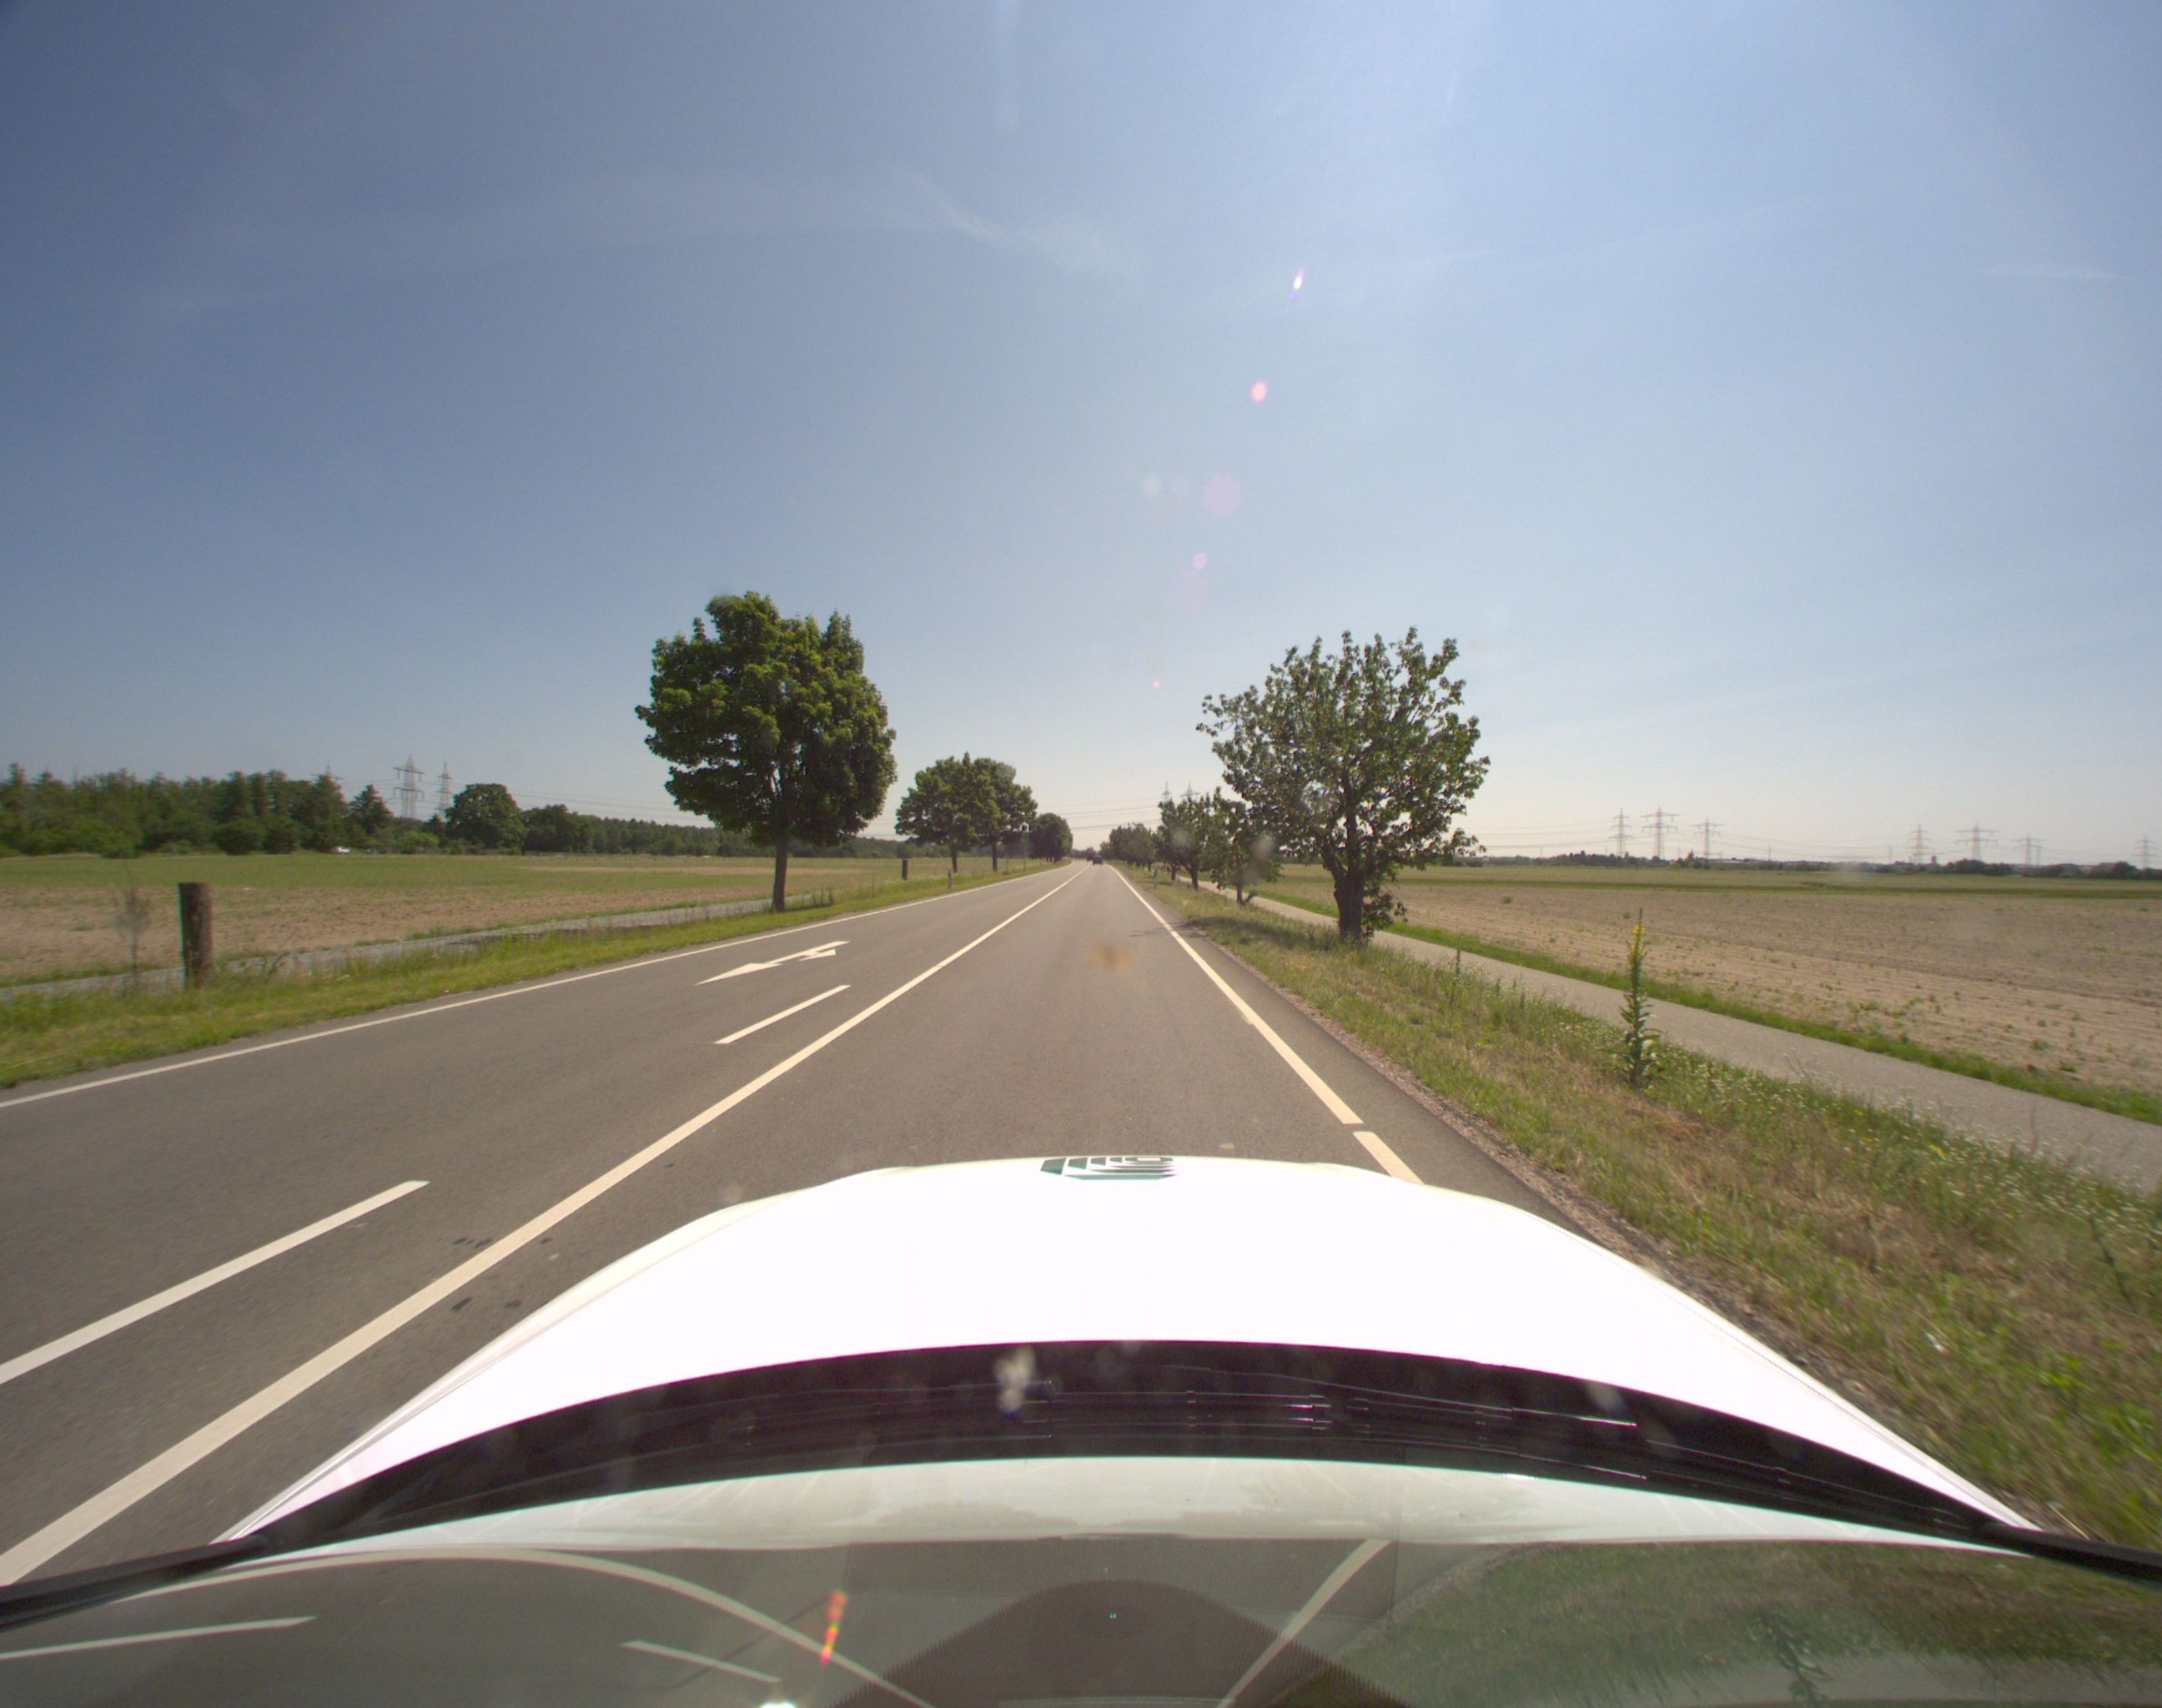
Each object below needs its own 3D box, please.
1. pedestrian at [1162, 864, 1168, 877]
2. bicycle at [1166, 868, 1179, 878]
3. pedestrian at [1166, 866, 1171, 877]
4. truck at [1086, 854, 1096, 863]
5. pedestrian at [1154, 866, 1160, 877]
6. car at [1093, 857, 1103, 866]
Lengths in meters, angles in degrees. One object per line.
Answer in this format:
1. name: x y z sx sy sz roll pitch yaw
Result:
1. pedestrian: 11.242 2.166 109.083 0.554 1.721 0.603 3 0 -7
2. bicycle: 11.826 2.435 104.913 1.216 1.165 2.433 3 0 -3
3. pedestrian: 11.630 2.357 108.254 0.554 1.371 0.603 3 0 -7
4. truck: 3.425 1.521 264.964 3.161 2.861 9.516 0 0 1
5. pedestrian: 10.113 2.283 108.139 0.554 1.371 0.603 3 0 -7
6. car: 3.233 1.468 153.083 1.878 1.518 4.040 3 0 1
